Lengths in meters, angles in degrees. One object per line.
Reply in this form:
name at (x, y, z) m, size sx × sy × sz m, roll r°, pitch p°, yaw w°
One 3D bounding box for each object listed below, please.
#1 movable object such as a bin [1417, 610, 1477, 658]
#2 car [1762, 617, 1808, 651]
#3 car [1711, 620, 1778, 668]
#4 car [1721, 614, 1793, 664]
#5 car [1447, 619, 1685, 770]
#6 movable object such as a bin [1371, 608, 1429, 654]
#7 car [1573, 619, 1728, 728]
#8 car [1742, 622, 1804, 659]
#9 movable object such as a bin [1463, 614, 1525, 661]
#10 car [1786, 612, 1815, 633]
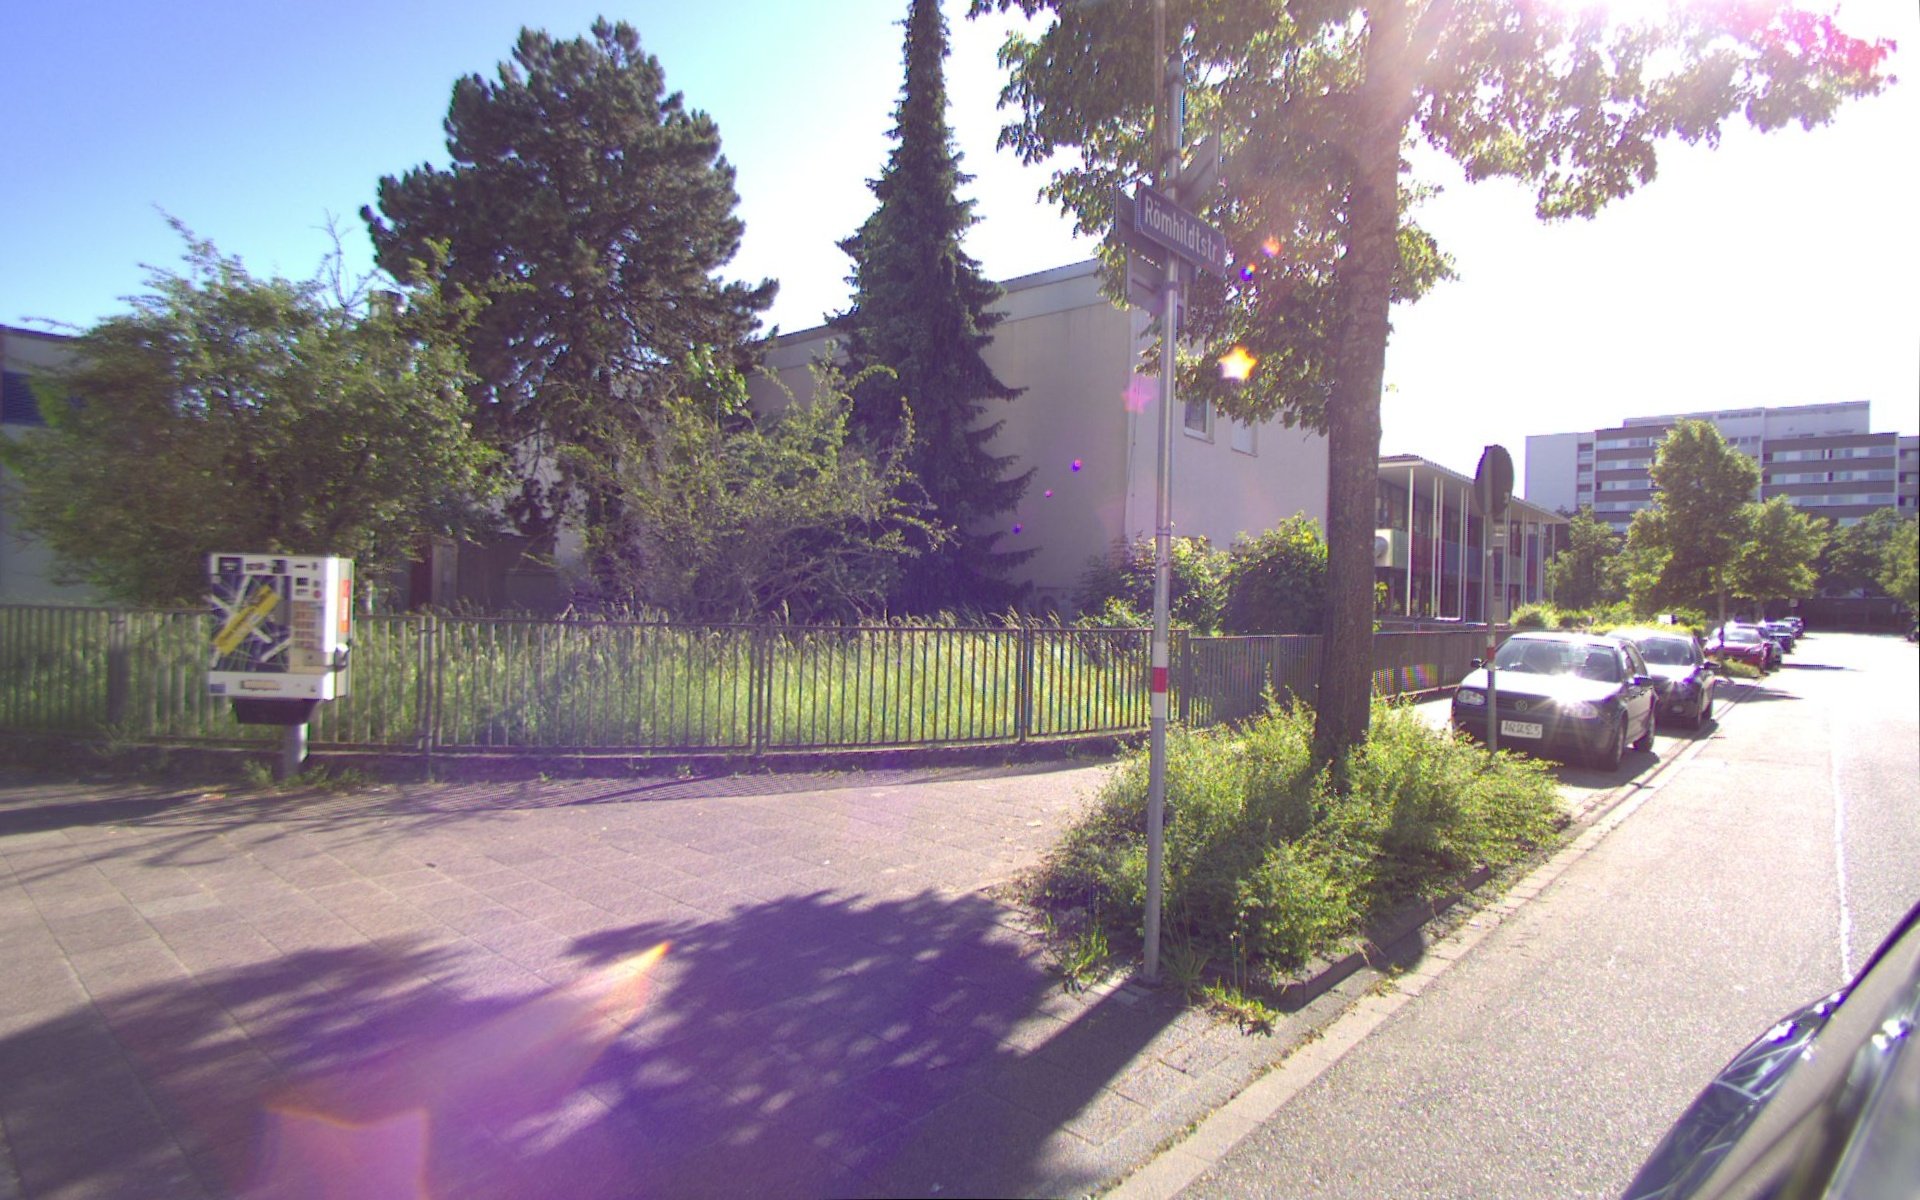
movable object such as a bin at (16.016, 1.093, 33.267) m, size 1.366 × 1.466 × 1.606 m, roll 2°, pitch 0°, yaw 42°
car at (47.178, 1.921, 57.845) m, size 1.818 × 1.667 × 4.422 m, roll 6°, pitch 3°, yaw 41°
car at (27.277, 1.481, 35.131) m, size 1.673 × 1.523 × 3.790 m, roll 1°, pitch 0°, yaw 40°
car at (31.020, 1.465, 39.347) m, size 1.900 × 1.703 × 4.344 m, roll 4°, pitch 2°, yaw 42°
car at (7.625, 1.003, 12.525) m, size 1.745 × 1.440 × 4.357 m, roll 1°, pitch 0°, yaw 42°
movable object such as a bin at (14.889, 1.039, 34.226) m, size 1.329 × 1.466 × 1.606 m, roll 2°, pitch 0°, yaw 42°
car at (11.718, 1.136, 17.062) m, size 1.781 × 1.535 × 3.942 m, roll 2°, pitch 0°, yaw 40°
car at (35.557, 1.714, 44.358) m, size 1.959 × 1.336 × 4.710 m, roll 5°, pitch 2°, yaw 38°
movable object such as a bin at (17.036, 1.175, 32.268) m, size 1.366 × 1.375 × 1.606 m, roll 2°, pitch 0°, yaw 42°
car at (69.184, 1.843, 83.273) m, size 1.640 × 1.484 × 3.649 m, roll 6°, pitch 4°, yaw 41°
